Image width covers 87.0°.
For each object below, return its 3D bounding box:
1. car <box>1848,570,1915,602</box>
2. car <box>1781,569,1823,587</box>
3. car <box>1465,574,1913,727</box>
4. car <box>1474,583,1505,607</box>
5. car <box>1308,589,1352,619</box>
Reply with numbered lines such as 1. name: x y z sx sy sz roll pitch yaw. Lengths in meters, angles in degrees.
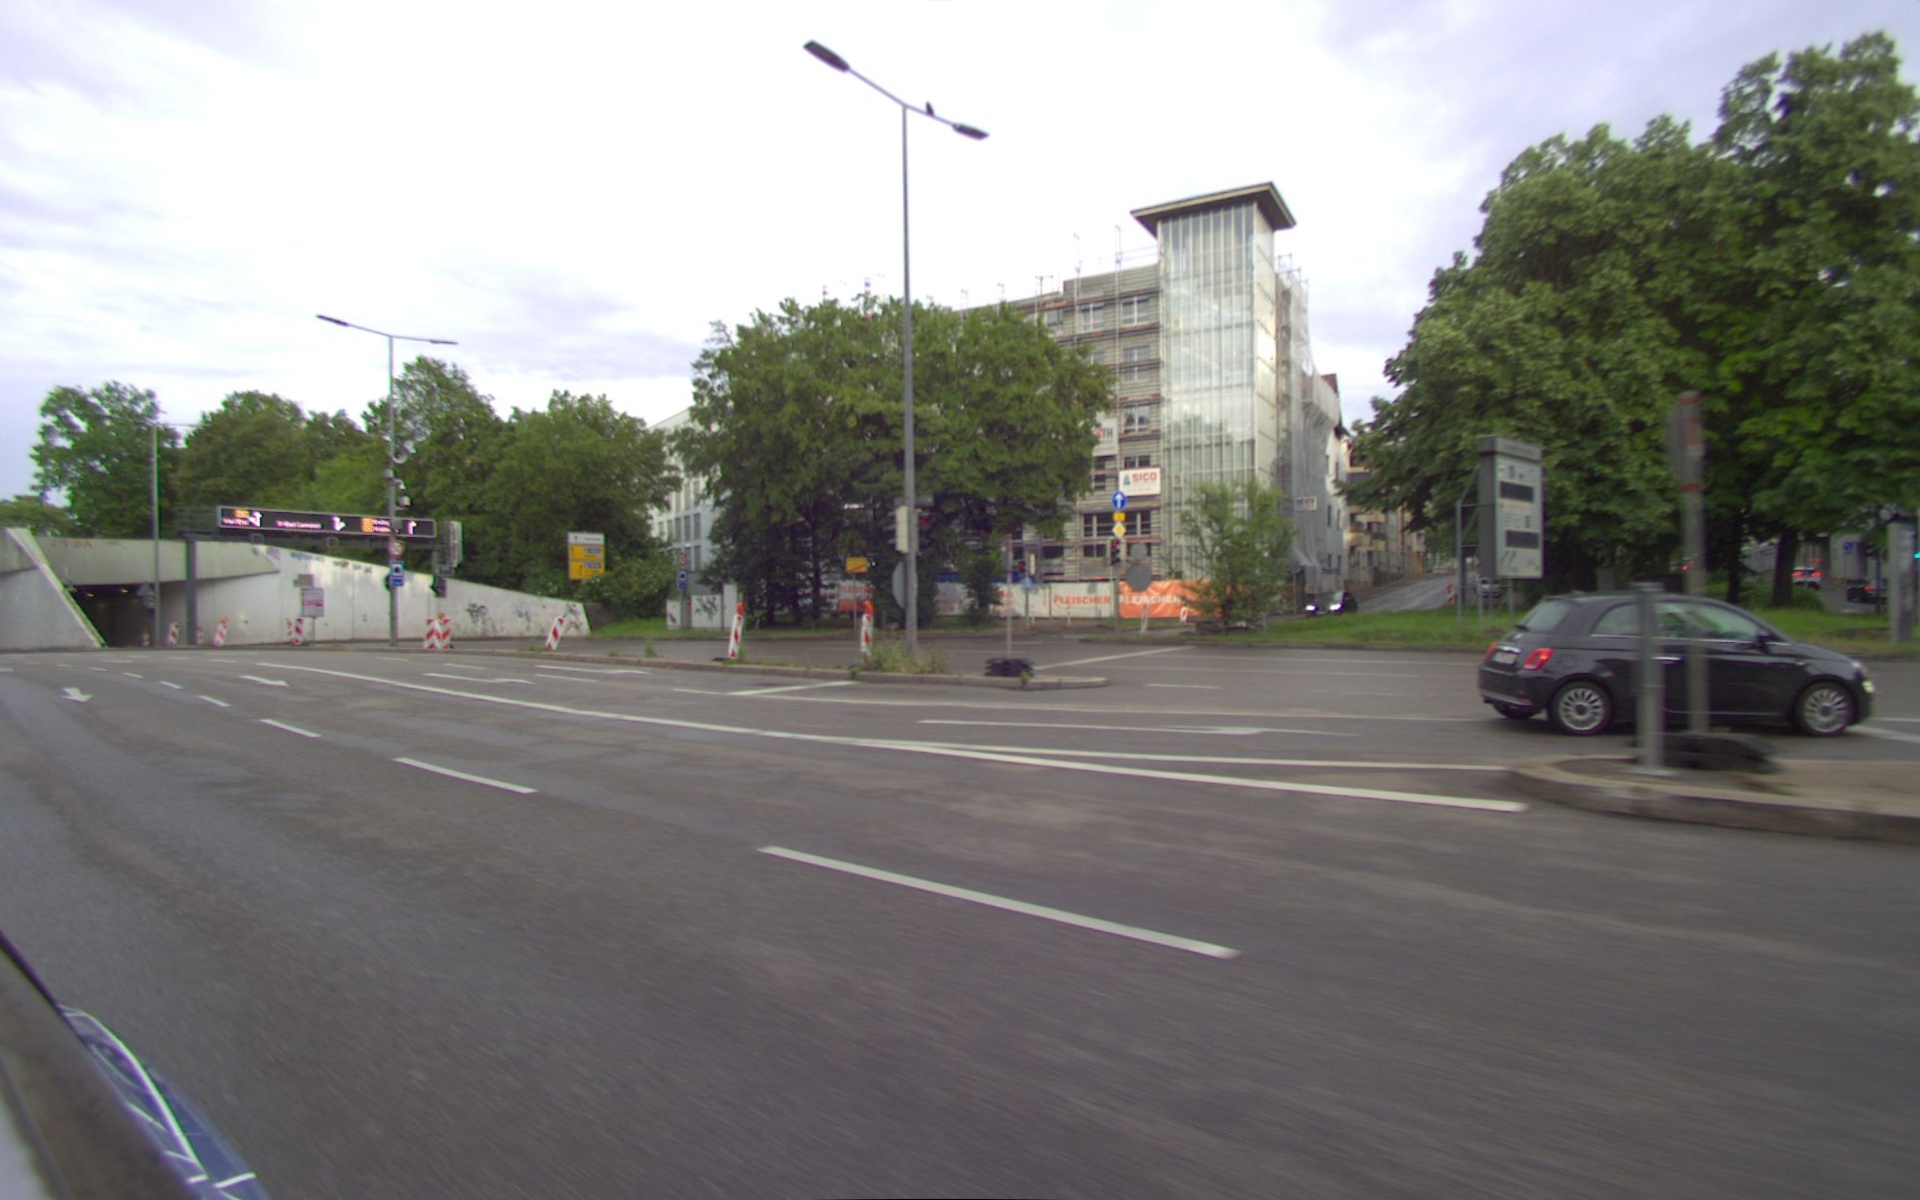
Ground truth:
1. car: 50.116 -0.744 55.109 1.870 1.670 3.470 -1 0 29
2. car: 59.129 -1.547 71.122 1.585 1.173 3.470 -1 0 29
3. car: 7.451 0.482 10.671 3.464 1.452 1.587 0 0 9
4. car: 40.206 -0.377 76.830 1.804 1.638 3.957 -2 1 32
5. car: 18.659 0.182 50.998 1.464 1.299 3.680 -2 1 29
